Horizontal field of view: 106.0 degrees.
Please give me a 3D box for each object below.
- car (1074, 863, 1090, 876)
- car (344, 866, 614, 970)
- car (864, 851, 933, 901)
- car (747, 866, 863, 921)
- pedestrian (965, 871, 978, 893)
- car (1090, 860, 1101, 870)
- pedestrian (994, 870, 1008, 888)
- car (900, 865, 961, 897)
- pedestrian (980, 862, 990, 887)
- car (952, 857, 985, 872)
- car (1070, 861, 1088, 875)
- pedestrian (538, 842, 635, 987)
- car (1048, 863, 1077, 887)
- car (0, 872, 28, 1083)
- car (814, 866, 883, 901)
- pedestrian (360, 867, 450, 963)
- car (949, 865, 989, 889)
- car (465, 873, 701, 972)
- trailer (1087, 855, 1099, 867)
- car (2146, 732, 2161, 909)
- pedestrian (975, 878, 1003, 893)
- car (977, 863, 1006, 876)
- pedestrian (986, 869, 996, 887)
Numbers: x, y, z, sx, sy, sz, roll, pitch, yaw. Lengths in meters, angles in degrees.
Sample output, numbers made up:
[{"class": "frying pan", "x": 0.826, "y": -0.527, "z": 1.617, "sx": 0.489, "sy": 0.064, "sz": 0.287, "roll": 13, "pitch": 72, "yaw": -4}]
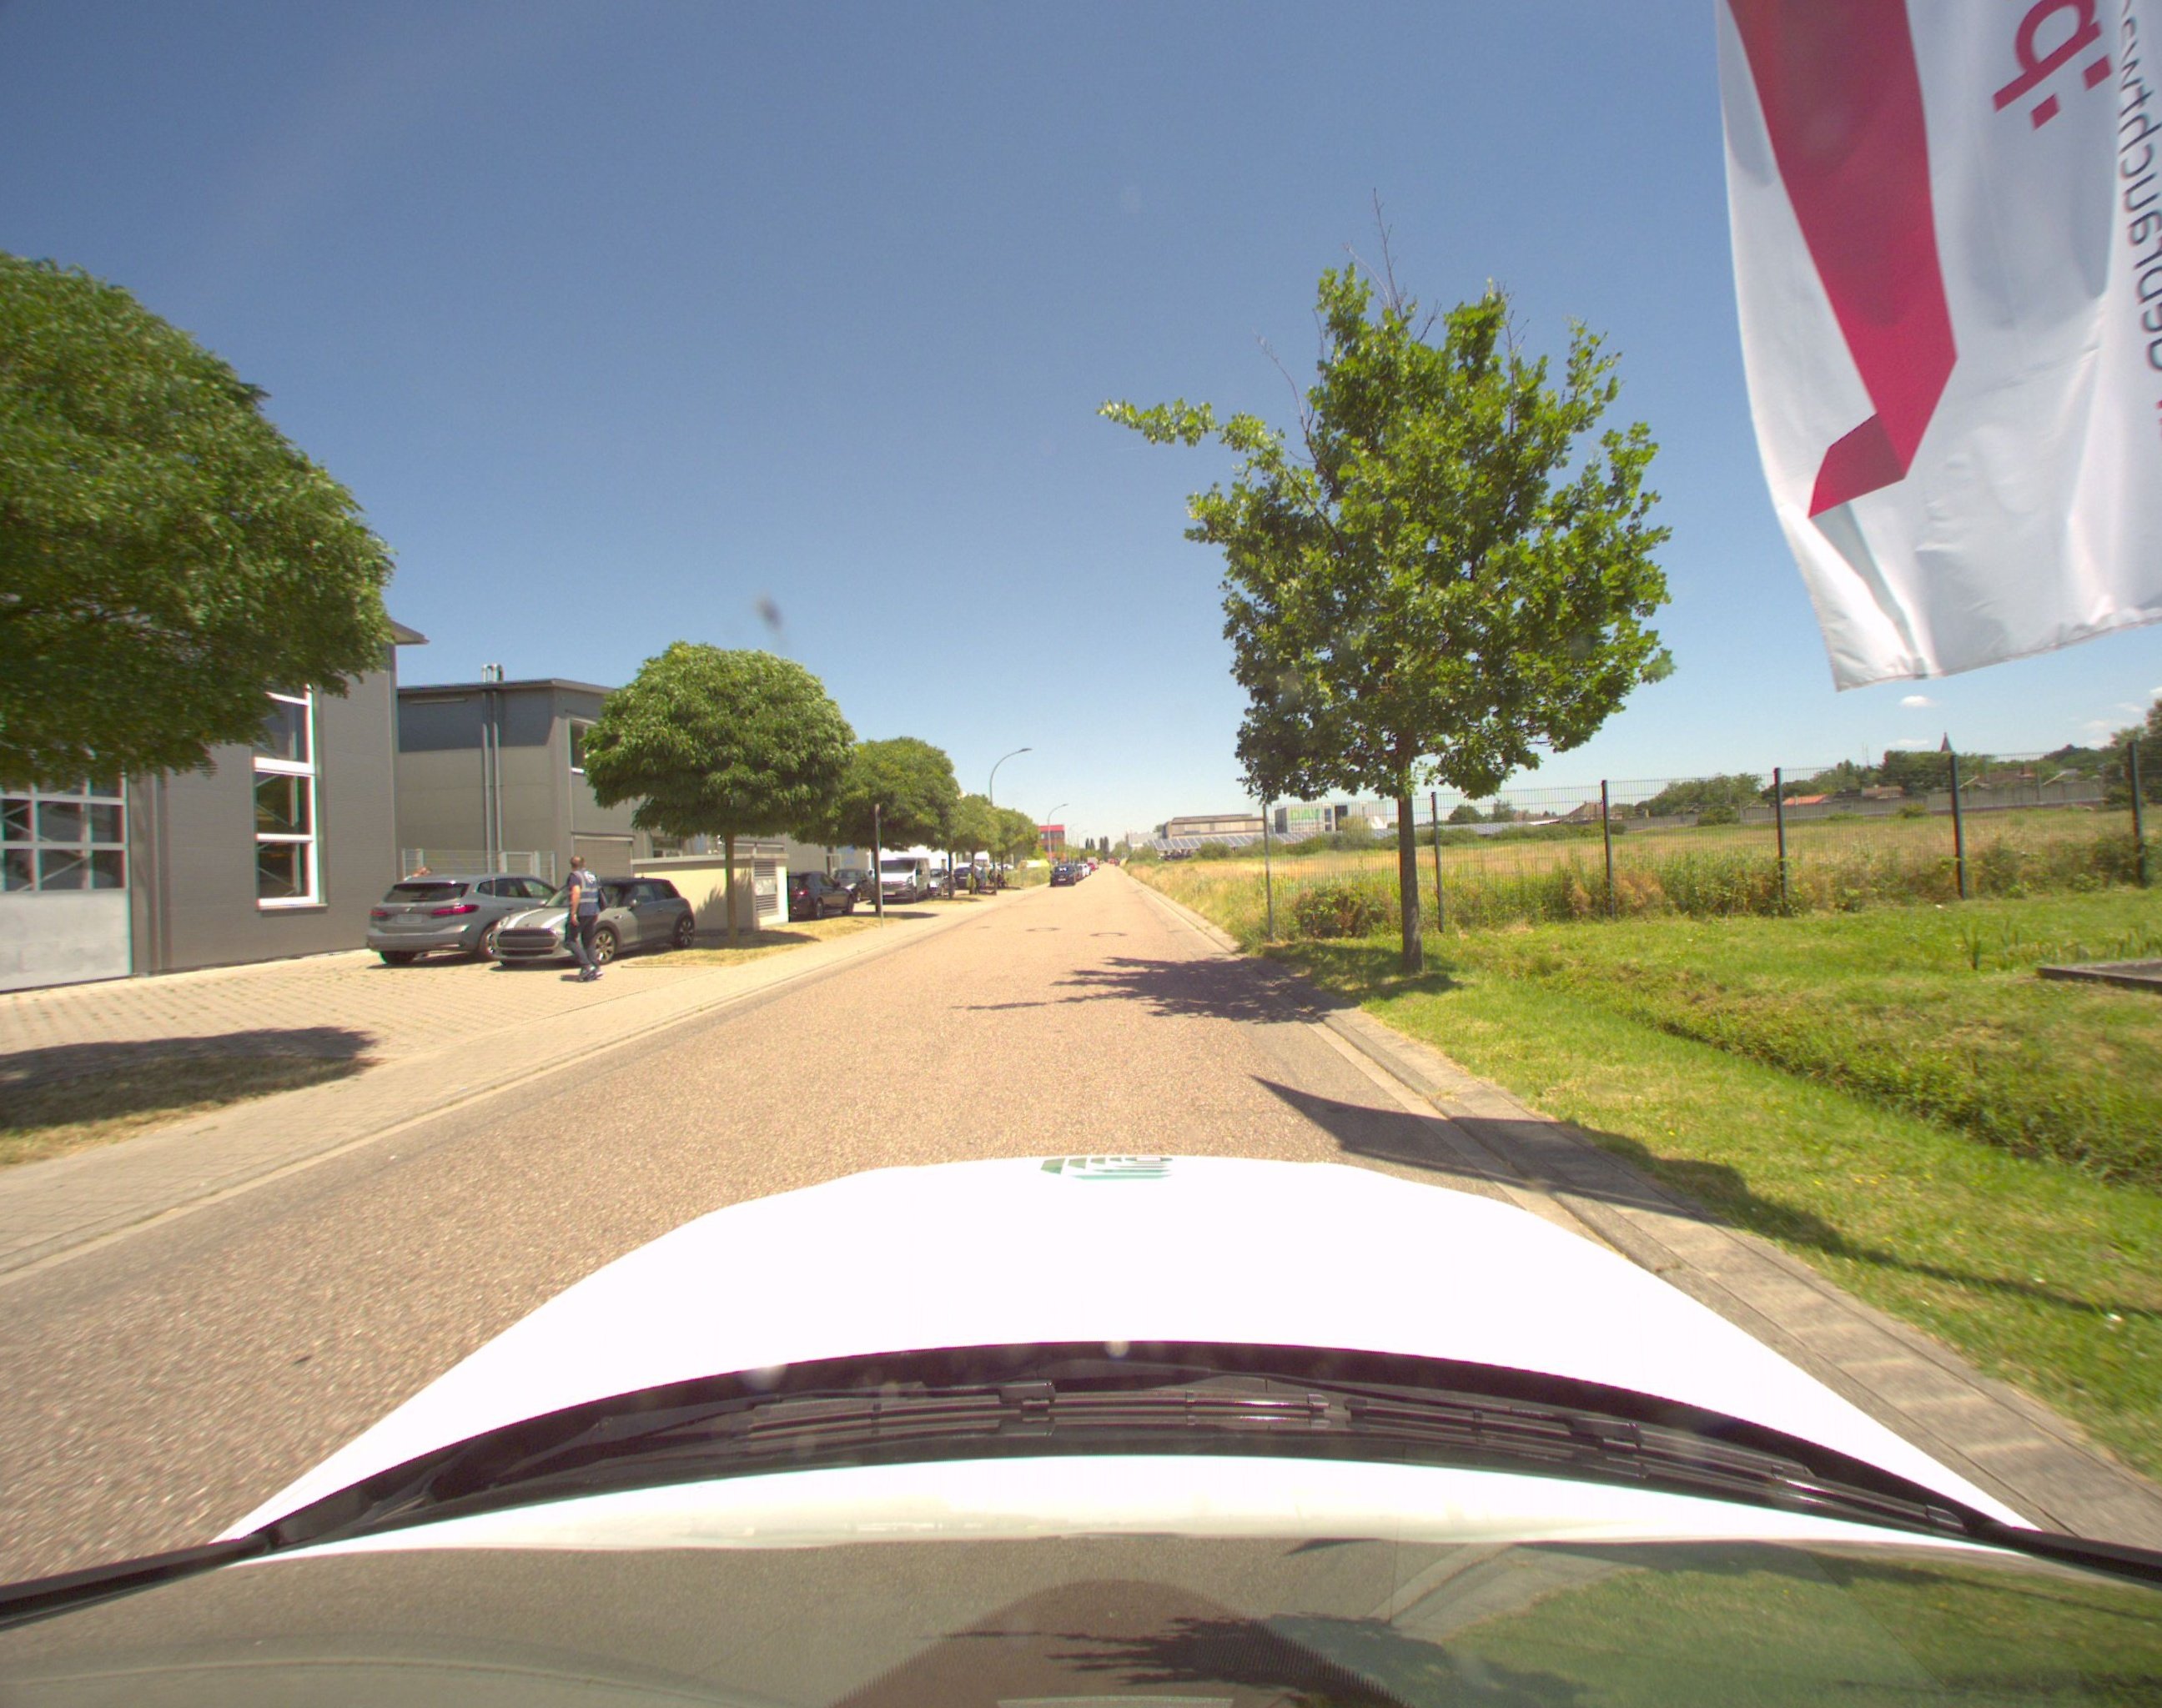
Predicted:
[{"class": "car", "x": 0.189, "y": 1.952, "z": 103.316, "sx": 1.780, "sy": 1.520, "sz": 3.984, "roll": -3, "pitch": 0, "yaw": 2}, {"class": "car", "x": -11.135, "y": 1.077, "z": 15.544, "sx": 1.728, "sy": 1.628, "sz": 4.351, "roll": -1, "pitch": 0, "yaw": 3}, {"class": "car", "x": -7.927, "y": 0.926, "z": 35.843, "sx": 1.831, "sy": 2.019, "sz": 5.124, "roll": -1, "pitch": -1, "yaw": 0}, {"class": "car", "x": -8.342, "y": 1.139, "z": 25.092, "sx": 1.759, "sy": 1.453, "sz": 4.716, "roll": -1, "pitch": -1, "yaw": 2}, {"class": "pedestrian", "x": -5.647, "y": 1.460, "z": 42.150, "sx": 0.475, "sy": 1.150, "sz": 0.557, "roll": 0, "pitch": -3, "yaw": 12}, {"class": "car", "x": 2.585, "y": 1.952, "z": 142.577, "sx": 1.780, "sy": 1.520, "sz": 3.984, "roll": -3, "pitch": -1, "yaw": 2}, {"class": "pedestrian", "x": -5.134, "y": 1.609, "z": 52.282, "sx": 0.747, "sy": 1.099, "sz": 0.647, "roll": 0, "pitch": -1, "yaw": 6}, {"class": "car", "x": -7.575, "y": 1.348, "z": 41.526, "sx": 1.919, "sy": 1.440, "sz": 4.844, "roll": -3, "pitch": -2, "yaw": 3}, {"class": "pedestrian", "x": -6.163, "y": 1.325, "z": 52.223, "sx": 0.503, "sy": 1.595, "sz": 0.754, "roll": 0, "pitch": -1, "yaw": 4}, {"class": "car", "x": -16.710, "y": 1.622, "z": 121.157, "sx": 4.511, "sy": 1.943, "sz": 2.032, "roll": -3, "pitch": -1, "yaw": 2}, {"class": "car", "x": -0.200, "y": 1.591, "z": 92.299, "sx": 1.780, "sy": 1.520, "sz": 3.984, "roll": -1, "pitch": -1, "yaw": 2}, {"class": "pedestrian", "x": -7.109, "y": 0.831, "z": 11.719, "sx": 0.832, "sy": 1.972, "sz": 0.971, "roll": -2, "pitch": -1, "yaw": 42}, {"class": "car", "x": -1.306, "y": 1.519, "z": 60.060, "sx": 1.920, "sy": 1.567, "sz": 4.190, "roll": -3, "pitch": 0, "yaw": 1}, {"class": "car", "x": -9.064, "y": 0.937, "z": 3.999, "sx": 1.758, "sy": 1.573, "sz": 4.542, "roll": -1, "pitch": 0, "yaw": 2}, {"class": "car", "x": -10.396, "y": 1.295, "z": 36.748, "sx": 1.920, "sy": 1.440, "sz": 4.087, "roll": 0, "pitch": 0, "yaw": 0}, {"class": "pedestrian", "x": -12.649, "y": 1.108, "z": 15.262, "sx": 0.837, "sy": 1.713, "sz": 0.965, "roll": -1, "pitch": -1, "yaw": 1}, {"class": "car", "x": -7.389, "y": 1.486, "z": 53.923, "sx": 1.920, "sy": 1.464, "sz": 4.692, "roll": 0, "pitch": 0, "yaw": 1}, {"class": "car", "x": -8.760, "y": 1.132, "z": 14.772, "sx": 1.758, "sy": 1.453, "sz": 3.843, "roll": -1, "pitch": 0, "yaw": 3}, {"class": "trailer", "x": 2.282, "y": 1.374, "z": 154.050, "sx": 2.192, "sy": 2.137, "sz": 4.287, "roll": -3, "pitch": -1, "yaw": 2}, {"class": "car", "x": 8.505, "y": -0.099, "z": 3.201, "sx": 2.016, "sy": 1.692, "sz": 5.113, "roll": -4, "pitch": 0, "yaw": 3}, {"class": "pedestrian", "x": -4.856, "y": 1.683, "z": 43.191, "sx": 1.352, "sy": 0.749, "sz": 0.754, "roll": 0, "pitch": -1, "yaw": 4}, {"class": "car", "x": -15.526, "y": 2.681, "z": 141.279, "sx": 4.511, "sy": 1.943, "sz": 2.032, "roll": -3, "pitch": -1, "yaw": 2}, {"class": "pedestrian", "x": -5.930, "y": 1.563, "z": 53.712, "sx": 0.503, "sy": 1.191, "sz": 0.754, "roll": 0, "pitch": -1, "yaw": 4}]
